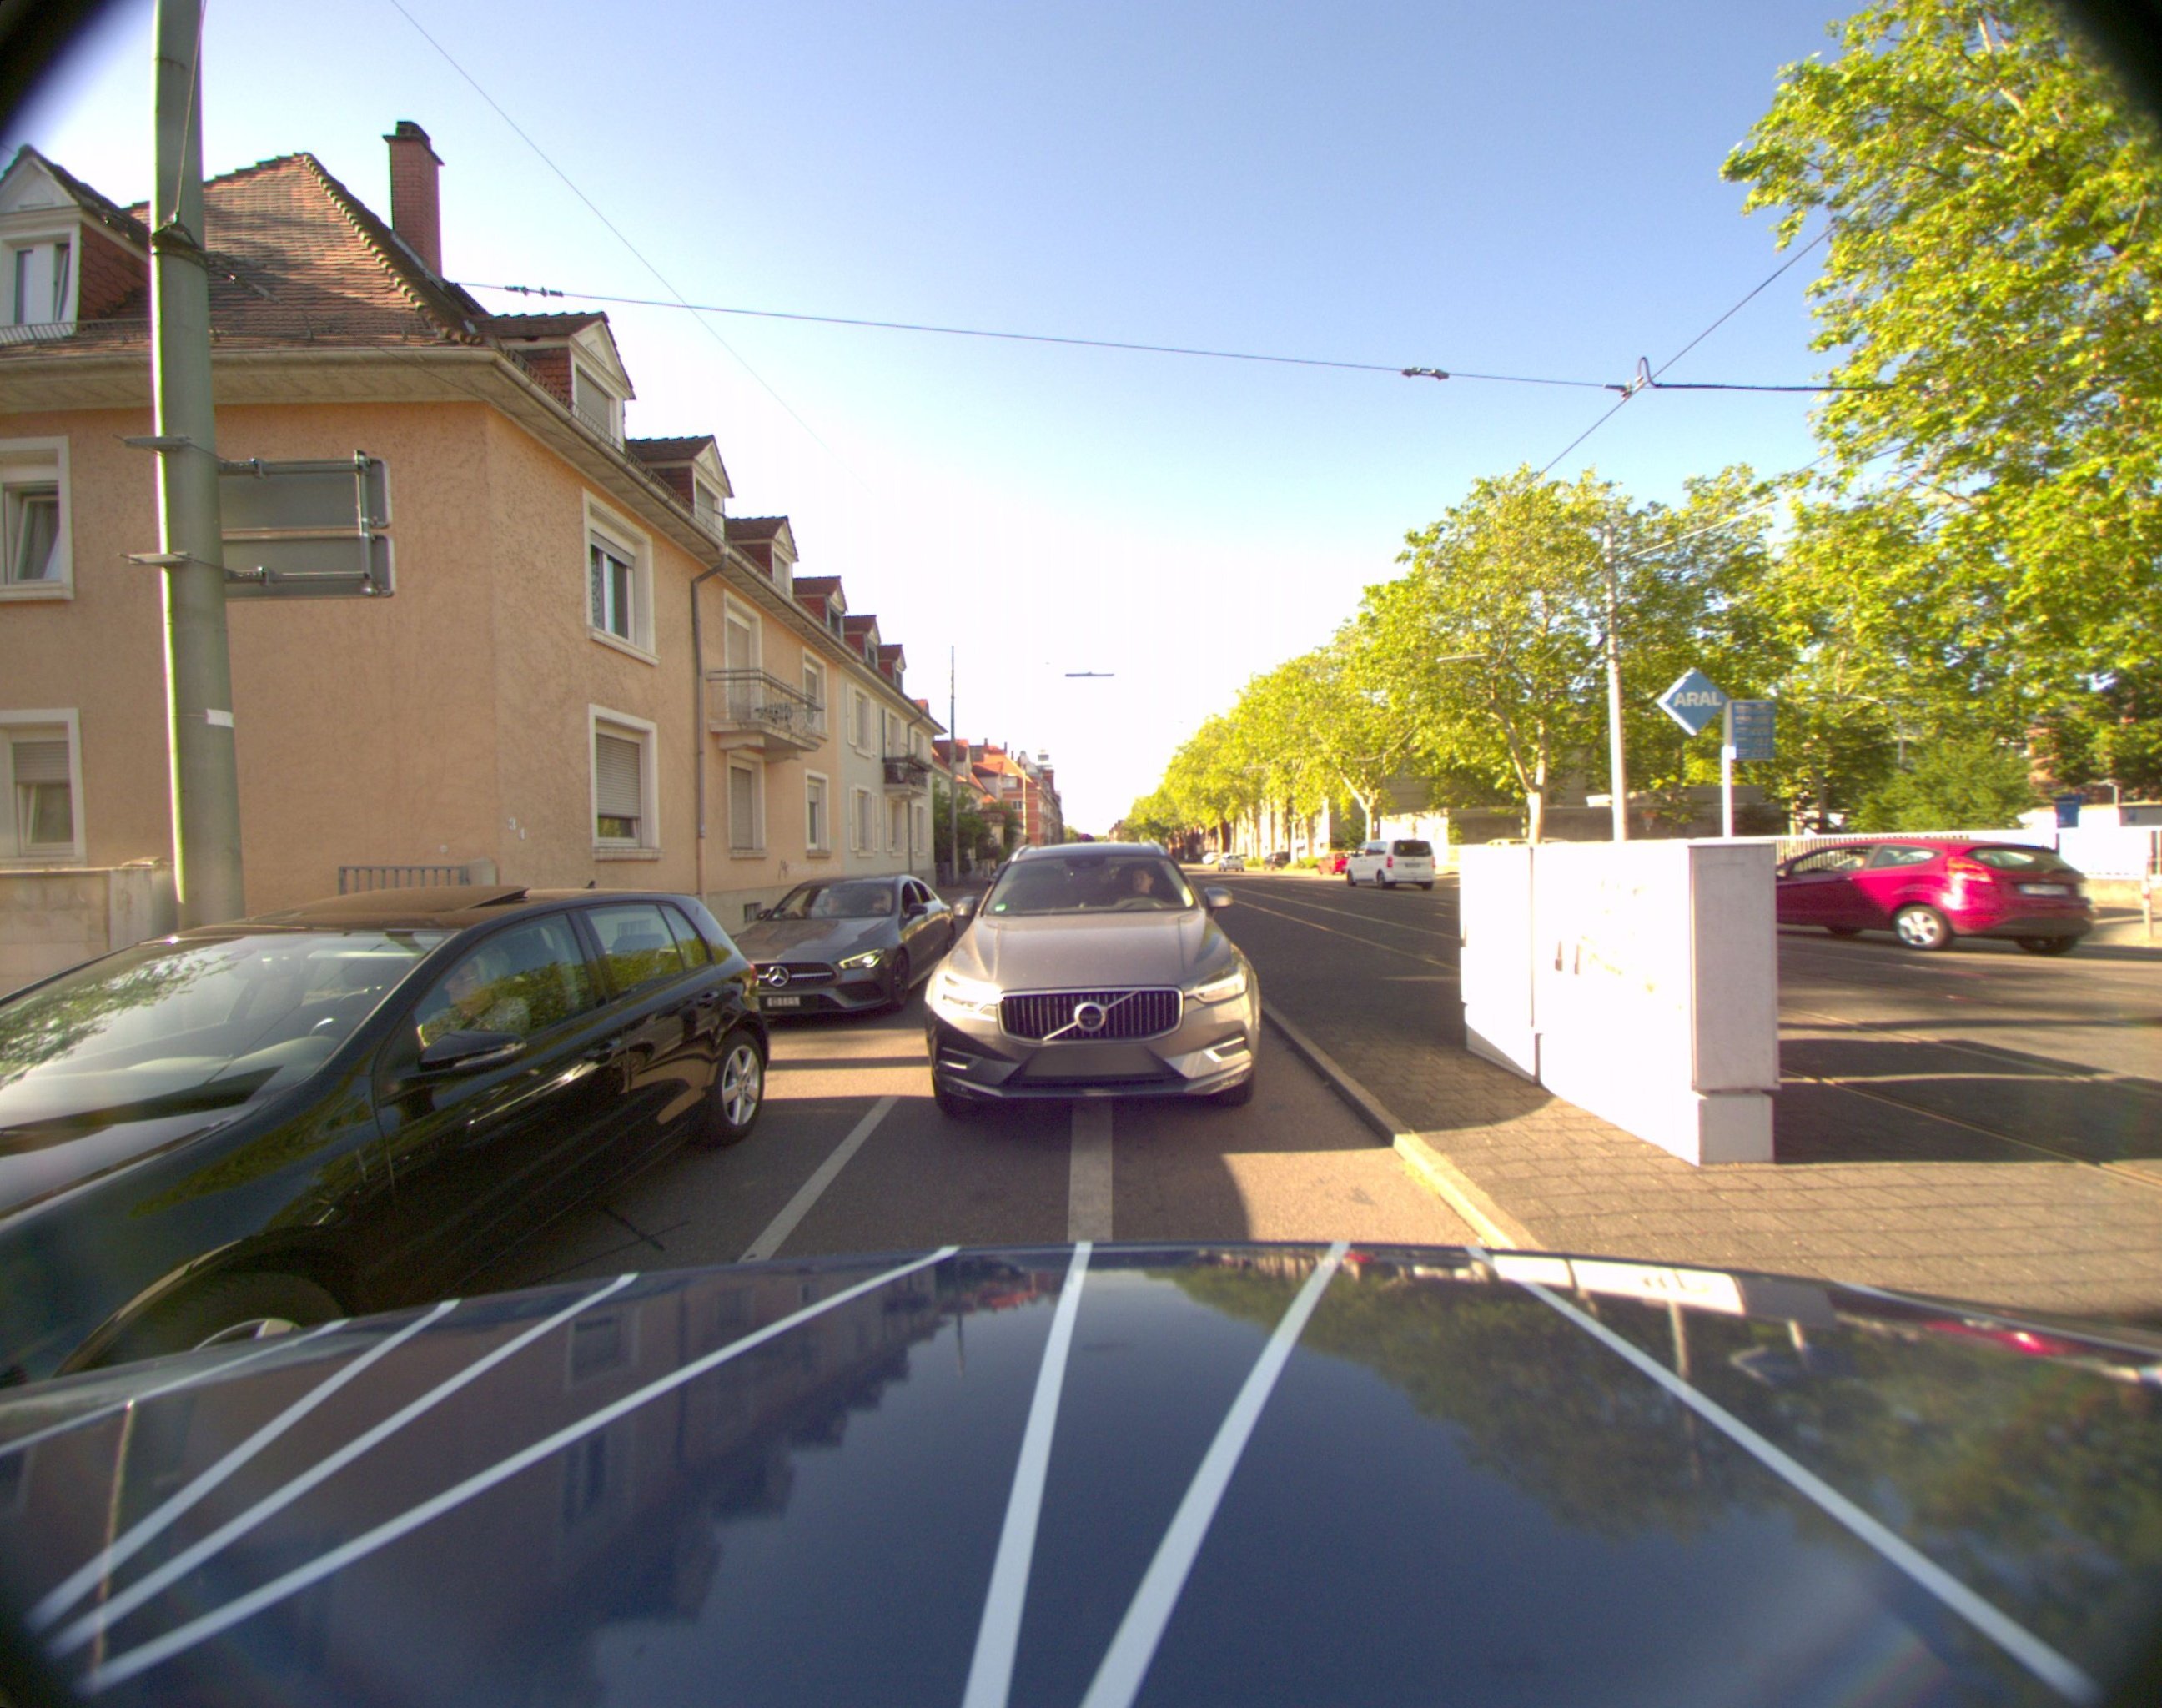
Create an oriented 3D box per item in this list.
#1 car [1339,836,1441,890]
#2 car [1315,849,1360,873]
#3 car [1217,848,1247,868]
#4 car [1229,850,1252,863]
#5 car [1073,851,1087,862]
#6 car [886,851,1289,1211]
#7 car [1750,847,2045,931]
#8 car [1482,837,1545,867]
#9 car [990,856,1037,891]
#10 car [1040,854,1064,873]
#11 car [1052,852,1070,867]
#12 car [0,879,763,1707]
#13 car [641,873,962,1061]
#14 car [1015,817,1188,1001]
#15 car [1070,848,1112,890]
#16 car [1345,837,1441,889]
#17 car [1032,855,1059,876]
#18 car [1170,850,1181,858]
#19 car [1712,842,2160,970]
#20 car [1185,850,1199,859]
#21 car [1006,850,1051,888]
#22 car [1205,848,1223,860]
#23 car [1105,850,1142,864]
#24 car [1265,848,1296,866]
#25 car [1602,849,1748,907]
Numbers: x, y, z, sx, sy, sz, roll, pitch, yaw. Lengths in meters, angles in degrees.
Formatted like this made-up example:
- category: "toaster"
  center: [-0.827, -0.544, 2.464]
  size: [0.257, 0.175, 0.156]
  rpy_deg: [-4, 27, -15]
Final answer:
- category: "car"
  center: [11.889, 0.391, 29.620]
  size: [1.887, 1.863, 5.115]
  rpy_deg: [-2, -1, 1]
- category: "car"
  center: [16.966, 0.449, 50.424]
  size: [1.700, 1.460, 3.999]
  rpy_deg: [-1, 1, 1]
- category: "car"
  center: [12.598, 0.322, 63.605]
  size: [1.764, 1.487, 3.999]
  rpy_deg: [-2, 1, 1]
- category: "car"
  center: [17.516, 0.266, 83.517]
  size: [1.700, 1.401, 3.999]
  rpy_deg: [-1, 1, 1]
- category: "car"
  center: [-0.159, 0.293, 106.484]
  size: [1.841, 1.449, 3.999]
  rpy_deg: [-2, 1, 1]
- category: "car"
  center: [0.039, 0.861, 6.101]
  size: [1.912, 1.666, 4.763]
  rpy_deg: [-2, 1, 0]
- category: "car"
  center: [16.244, 0.606, 15.473]
  size: [1.731, 1.412, 3.999]
  rpy_deg: [-2, 1, 1]
- category: "car"
  center: [21.714, -0.103, 38.257]
  size: [1.545, 1.412, 3.151]
  rpy_deg: [-2, 1, 4]
- category: "car"
  center: [-3.244, 0.907, 37.095]
  size: [1.841, 1.449, 3.999]
  rpy_deg: [-2, 1, 1]
- category: "car"
  center: [-2.531, 0.820, 66.994]
  size: [1.841, 1.449, 3.999]
  rpy_deg: [-2, 1, 1]
- category: "car"
  center: [-2.183, 0.603, 85.431]
  size: [1.841, 1.449, 3.999]
  rpy_deg: [-2, 1, 1]
- category: "car"
  center: [-2.851, 0.890, 2.602]
  size: [1.733, 1.499, 4.051]
  rpy_deg: [-2, -1, 1]
- category: "car"
  center: [-2.788, 1.047, 8.864]
  size: [1.911, 1.411, 4.492]
  rpy_deg: [-2, 1, 2]
- category: "car"
  center: [0.238, 0.605, 11.118]
  size: [1.912, 2.048, 4.763]
  rpy_deg: [-2, 1, 0]
- category: "car"
  center: [0.477, 0.662, 36.878]
  size: [1.866, 1.794, 4.778]
  rpy_deg: [-2, 1, 1]
- category: "car"
  center: [11.892, 0.281, 29.296]
  size: [1.850, 1.835, 4.394]
  rpy_deg: [-1, 1, -1]
- category: "car"
  center: [-2.827, 0.902, 60.584]
  size: [1.841, 1.449, 3.999]
  rpy_deg: [-2, 1, 1]
- category: "car"
  center: [18.581, -0.043, 149.045]
  size: [1.700, 1.401, 3.999]
  rpy_deg: [-1, 1, 1]
- category: "car"
  center: [11.274, 0.563, 10.549]
  size: [1.700, 1.412, 3.999]
  rpy_deg: [1, 1, 1]
- category: "car"
  center: [18.332, 0.045, 125.556]
  size: [1.700, 1.401, 3.999]
  rpy_deg: [-1, 1, 1]
- category: "car"
  center: [-2.927, 0.782, 44.005]
  size: [1.937, 1.888, 7.210]
  rpy_deg: [-2, 1, 1]
- category: "car"
  center: [17.663, 0.026, 100.779]
  size: [1.700, 1.548, 3.999]
  rpy_deg: [-1, 1, 1]
- category: "car"
  center: [4.839, 0.324, 86.220]
  size: [1.846, 1.449, 3.989]
  rpy_deg: [-3, 1, -41]
- category: "car"
  center: [17.285, 0.240, 65.909]
  size: [1.700, 1.401, 3.999]
  rpy_deg: [-1, 1, 1]
- category: "car"
  center: [16.436, 0.612, 21.238]
  size: [1.546, 1.412, 3.254]
  rpy_deg: [-2, 1, 1]
